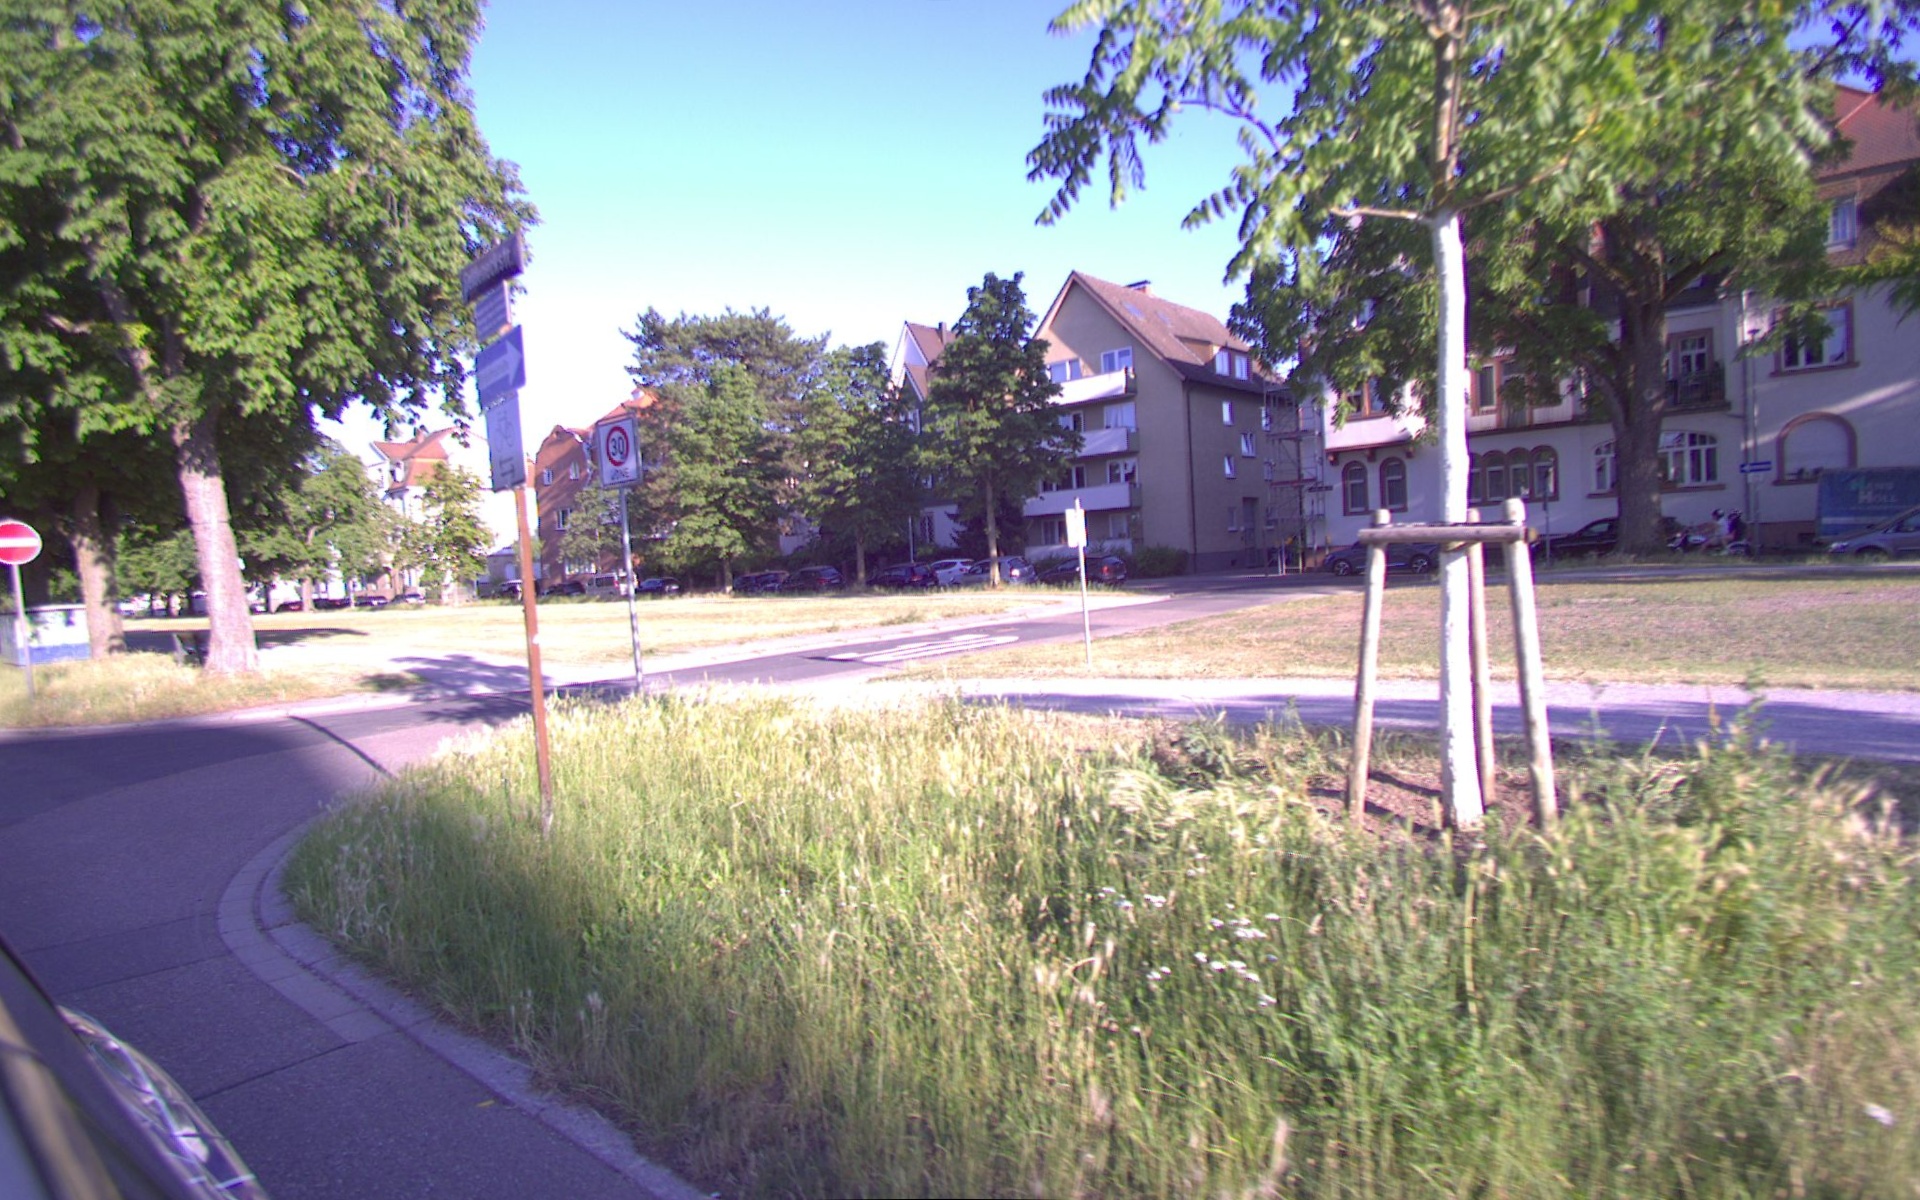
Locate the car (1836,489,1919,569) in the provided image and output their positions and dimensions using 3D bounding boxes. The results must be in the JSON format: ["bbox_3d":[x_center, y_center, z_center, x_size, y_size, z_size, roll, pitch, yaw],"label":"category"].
[{"bbox_3d":[23.254,-1.759,23.462,4.341,1.741,1.974,-3,2,40],"label":"car"}]

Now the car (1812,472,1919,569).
[{"bbox_3d":[26.402,-2.230,28.247,3.998,2.559,1.973,0,4,41],"label":"car"}]

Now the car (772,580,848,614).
[{"bbox_3d":[-7.378,-0.150,49.662,3.636,1.426,1.542,-3,2,37],"label":"car"}]

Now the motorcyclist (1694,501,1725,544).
[{"bbox_3d":[21.160,-2.199,28.567,0.575,1.158,0.740,-2,2,43],"label":"motorcyclist"}]

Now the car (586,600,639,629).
[{"bbox_3d":[-25.238,1.011,73.417,4.001,2.029,1.971,-1,0,44],"label":"car"}]

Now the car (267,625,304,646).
[{"bbox_3d":[-69.630,3.654,104.491,3.997,2.029,2.099,-1,0,40],"label":"car"}]

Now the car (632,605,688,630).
[{"bbox_3d":[-20.587,1.200,69.316,4.001,1.617,1.971,-1,0,44],"label":"car"}]

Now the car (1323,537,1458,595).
[{"bbox_3d":[15.846,-1.235,37.358,4.280,1.838,1.605,-3,2,37],"label":"car"}]

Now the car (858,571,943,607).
[{"bbox_3d":[-2.713,-0.487,45.776,3.636,1.379,1.542,-3,2,37],"label":"car"}]

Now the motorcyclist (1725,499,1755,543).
[{"bbox_3d":[21.690,-2.205,28.139,0.575,1.158,0.740,-2,2,43],"label":"motorcyclist"}]

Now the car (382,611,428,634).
[{"bbox_3d":[-46.220,1.880,84.232,3.998,1.715,1.973,-3,2,41],"label":"car"}]

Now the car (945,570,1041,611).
[{"bbox_3d":[1.364,-0.391,42.179,3.636,1.418,1.672,-3,2,37],"label":"car"}]

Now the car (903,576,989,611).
[{"bbox_3d":[-0.731,-0.316,51.908,3.993,1.510,1.976,-3,2,37],"label":"car"}]

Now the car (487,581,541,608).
[{"bbox_3d":[-31.099,-0.375,70.541,3.999,1.858,1.972,-1,0,42],"label":"car"}]

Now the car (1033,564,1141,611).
[{"bbox_3d":[4.932,-0.469,39.457,3.677,1.533,1.871,-3,2,40],"label":"car"}]

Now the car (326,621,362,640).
[{"bbox_3d":[-65.243,3.222,107.145,3.995,1.896,1.974,-1,0,38],"label":"car"}]

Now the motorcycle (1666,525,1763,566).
[{"bbox_3d":[21.259,-1.533,28.545,2.109,0.964,0.559,-3,2,41],"label":"motorcycle"}]

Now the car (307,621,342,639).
[{"bbox_3d":[-69.580,3.287,110.749,3.995,1.859,1.974,-1,0,38],"label":"car"}]

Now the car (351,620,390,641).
[{"bbox_3d":[-60.507,3.152,103.849,3.995,1.921,1.975,-3,2,38],"label":"car"}]

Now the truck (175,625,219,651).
[{"bbox_3d":[-96.564,4.753,128.110,7.703,3.170,2.750,-1,0,40],"label":"truck"}]

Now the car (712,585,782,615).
[{"bbox_3d":[-11.232,0.021,53.318,3.636,1.340,1.542,-3,2,37],"label":"car"}]

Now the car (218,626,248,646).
[{"bbox_3d":[-84.674,4.212,117.812,4.000,2.028,1.972,-3,2,43],"label":"car"}]

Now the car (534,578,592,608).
[{"bbox_3d":[-25.952,-0.442,66.141,3.999,1.858,1.972,-1,0,42],"label":"car"}]

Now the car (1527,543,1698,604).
[{"bbox_3d":[21.288,-0.850,33.124,4.441,1.673,1.909,-3,2,41],"label":"car"}]
